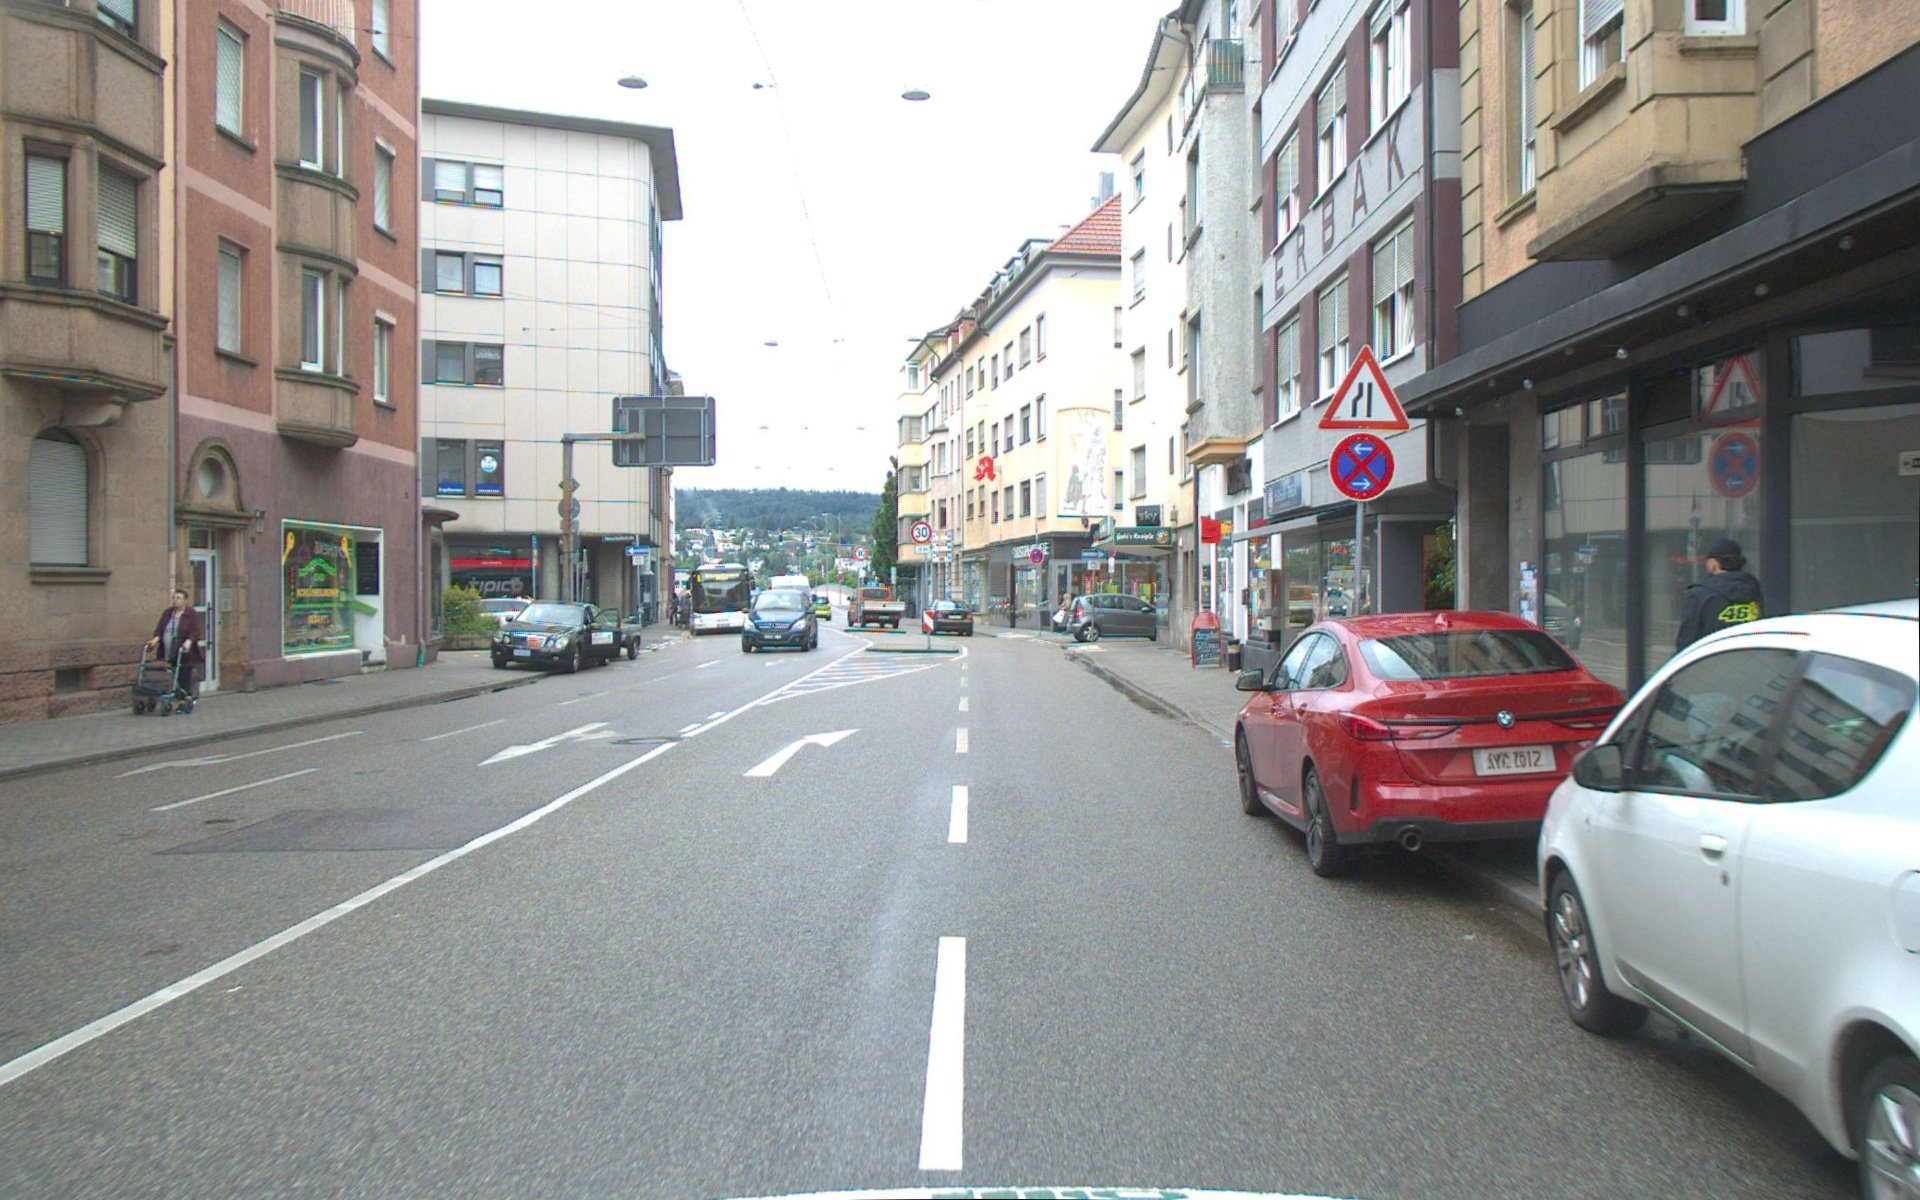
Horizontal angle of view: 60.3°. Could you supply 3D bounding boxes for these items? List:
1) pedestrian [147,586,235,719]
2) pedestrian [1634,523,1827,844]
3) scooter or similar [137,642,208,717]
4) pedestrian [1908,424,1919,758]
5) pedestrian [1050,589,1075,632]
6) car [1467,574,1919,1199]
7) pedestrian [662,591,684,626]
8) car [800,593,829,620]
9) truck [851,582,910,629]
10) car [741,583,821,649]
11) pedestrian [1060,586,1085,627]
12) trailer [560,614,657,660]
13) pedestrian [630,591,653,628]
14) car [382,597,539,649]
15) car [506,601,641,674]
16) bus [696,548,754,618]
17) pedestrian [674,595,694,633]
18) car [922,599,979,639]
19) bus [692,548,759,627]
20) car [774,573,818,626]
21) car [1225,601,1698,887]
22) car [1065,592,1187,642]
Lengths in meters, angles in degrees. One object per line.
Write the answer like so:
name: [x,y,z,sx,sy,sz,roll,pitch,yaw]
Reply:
pedestrian: [-10.216,0.689,22.008,0.827,1.708,0.850,2,-1,-12]
pedestrian: [4.530,0.472,9.777,0.729,1.810,0.795,-1,-1,-2]
scooter or similar: [-10.170,1.027,21.372,0.699,0.941,0.479,2,-1,-13]
pedestrian: [5.887,-0.056,9.311,0.689,1.927,0.649,-1,-1,-2]
pedestrian: [3.920,0.402,63.154,0.764,1.587,0.781,-1,-1,-10]
car: [2.948,0.703,5.114,1.613,1.520,4.450,-1,0,3]
pedestrian: [-14.149,0.421,81.651,0.980,1.713,1.264,-1,-1,-6]
car: [-9.634,0.439,109.473,1.721,1.680,3.992,-1,0,-8]
truck: [-3.956,0.279,81.271,2.355,2.167,5.304,-1,0,-8]
car: [-4.811,0.426,44.910,1.718,1.680,4.306,-1,0,-1]
pedestrian: [4.348,0.254,64.021,0.754,1.587,0.874,-1,-1,-10]
trailer: [-8.572,0.885,40.577,1.555,0.965,3.057,5,0,2]
pedestrian: [-14.061,0.414,73.011,0.927,1.617,0.833,-1,-1,-6]
car: [-16.040,0.722,53.200,4.576,1.559,1.888,-1,-1,-29]
car: [-8.462,0.772,36.613,1.812,1.422,4.792,3,0,0]
bus: [-11.767,-0.774,82.694,2.675,3.244,9.275,-1,0,-8]
pedestrian: [-12.623,0.657,75.719,0.860,1.721,0.886,-1,-1,-11]
car: [-0.398,0.739,65.570,1.721,1.505,3.992,-1,0,-8]
bus: [-10.448,-0.490,73.655,2.707,3.244,8.894,-1,0,-8]
car: [-8.197,0.003,82.155,2.046,2.478,6.343,-1,0,-7]
car: [2.898,0.732,10.572,1.708,1.393,4.315,-1,0,0]
car: [5.505,0.561,55.099,3.751,1.601,1.934,-1,-1,-6]
